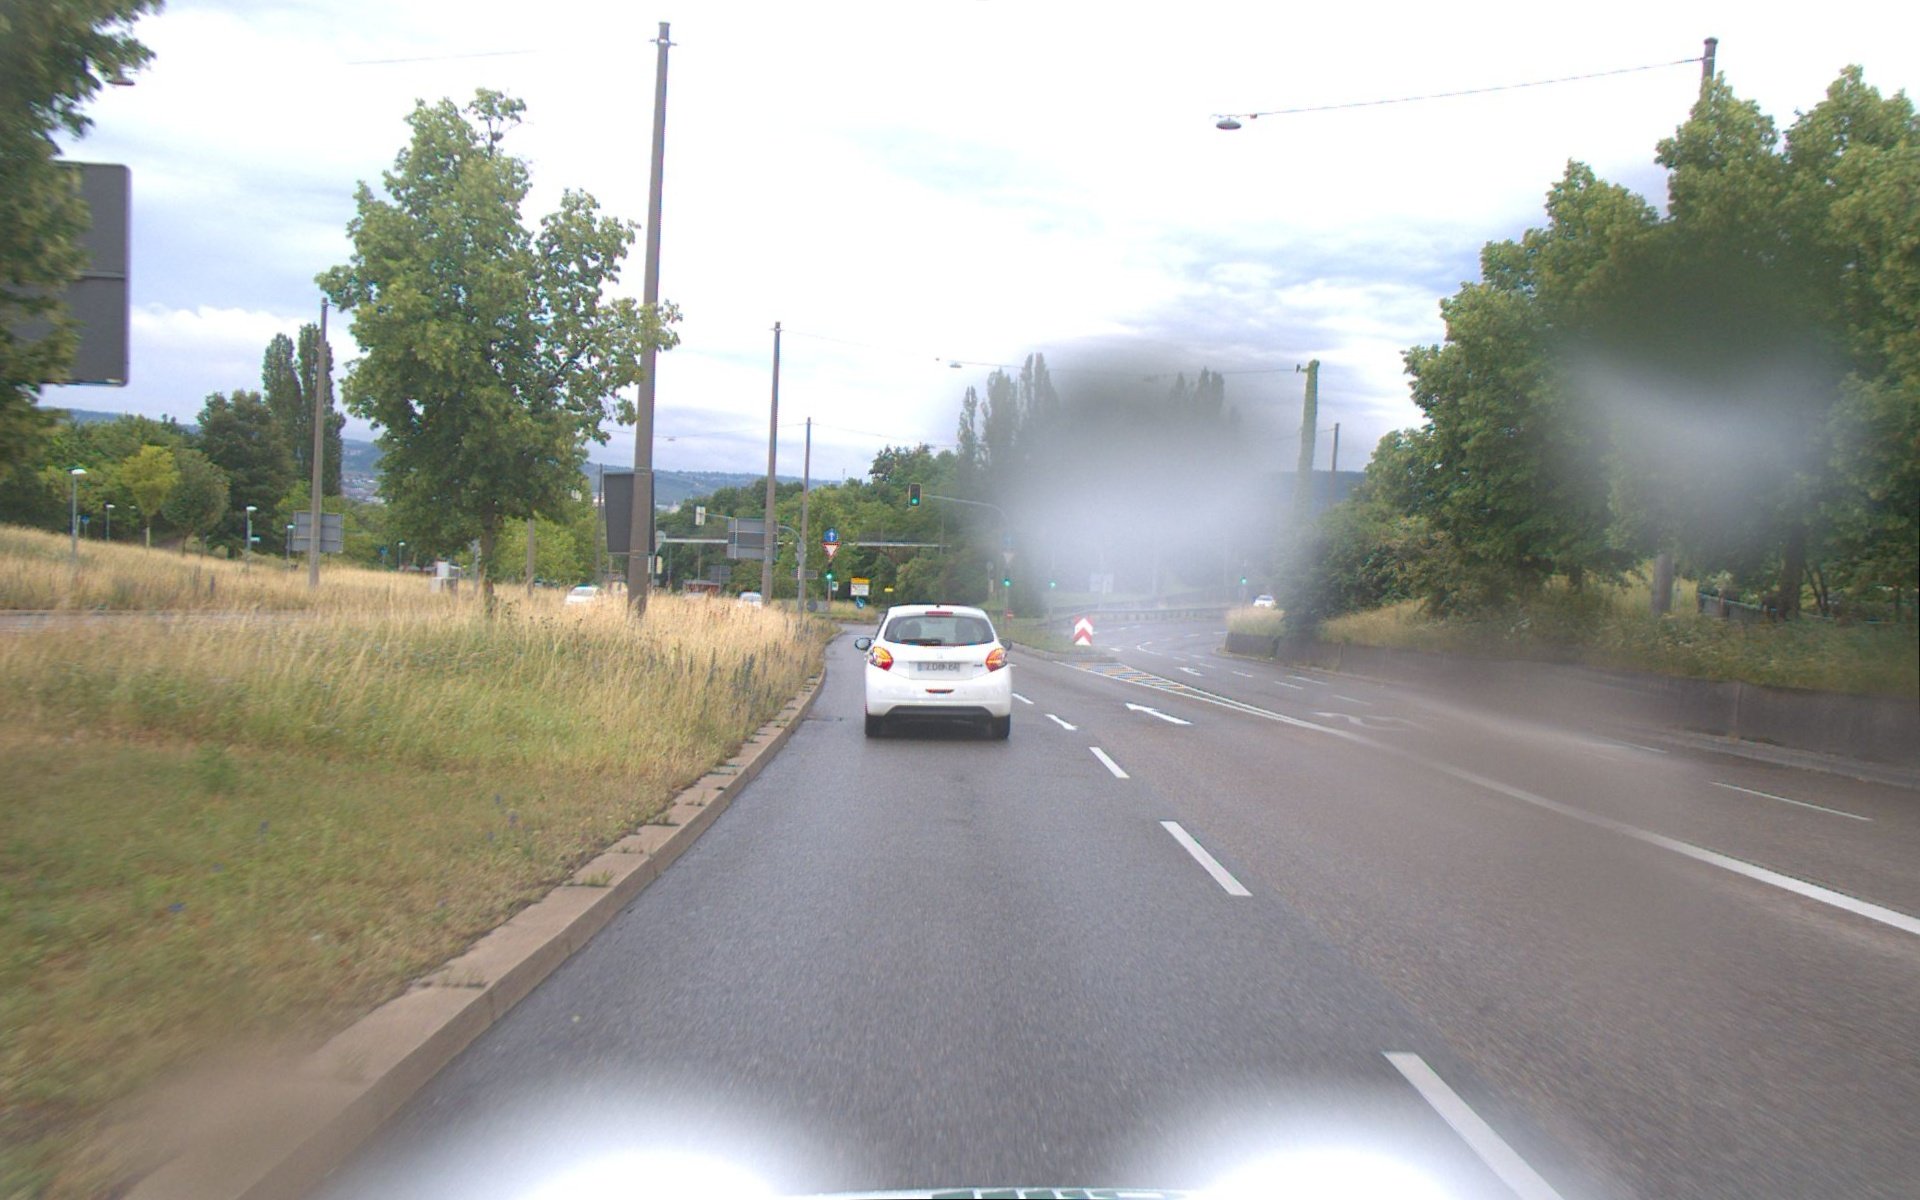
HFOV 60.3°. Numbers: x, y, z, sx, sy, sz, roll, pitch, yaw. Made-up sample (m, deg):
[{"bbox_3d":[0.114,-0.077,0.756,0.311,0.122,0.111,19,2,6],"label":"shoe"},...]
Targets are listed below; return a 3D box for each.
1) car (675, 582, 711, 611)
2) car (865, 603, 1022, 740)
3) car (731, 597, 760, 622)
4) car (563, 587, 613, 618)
[{"bbox_3d":[-16.405,-0.202,101.866,1.858,1.564,3.995,2,-2,-6],"label":"car"},{"bbox_3d":[-0.212,0.809,19.741,1.674,1.465,3.689,1,-1,-1],"label":"car"},{"bbox_3d":[-13.475,0.611,103.988,1.704,1.397,3.994,2,-1,-6],"label":"car"},{"bbox_3d":[-21.816,0.187,97.161,1.847,1.639,4.675,3,-1,0],"label":"car"}]
